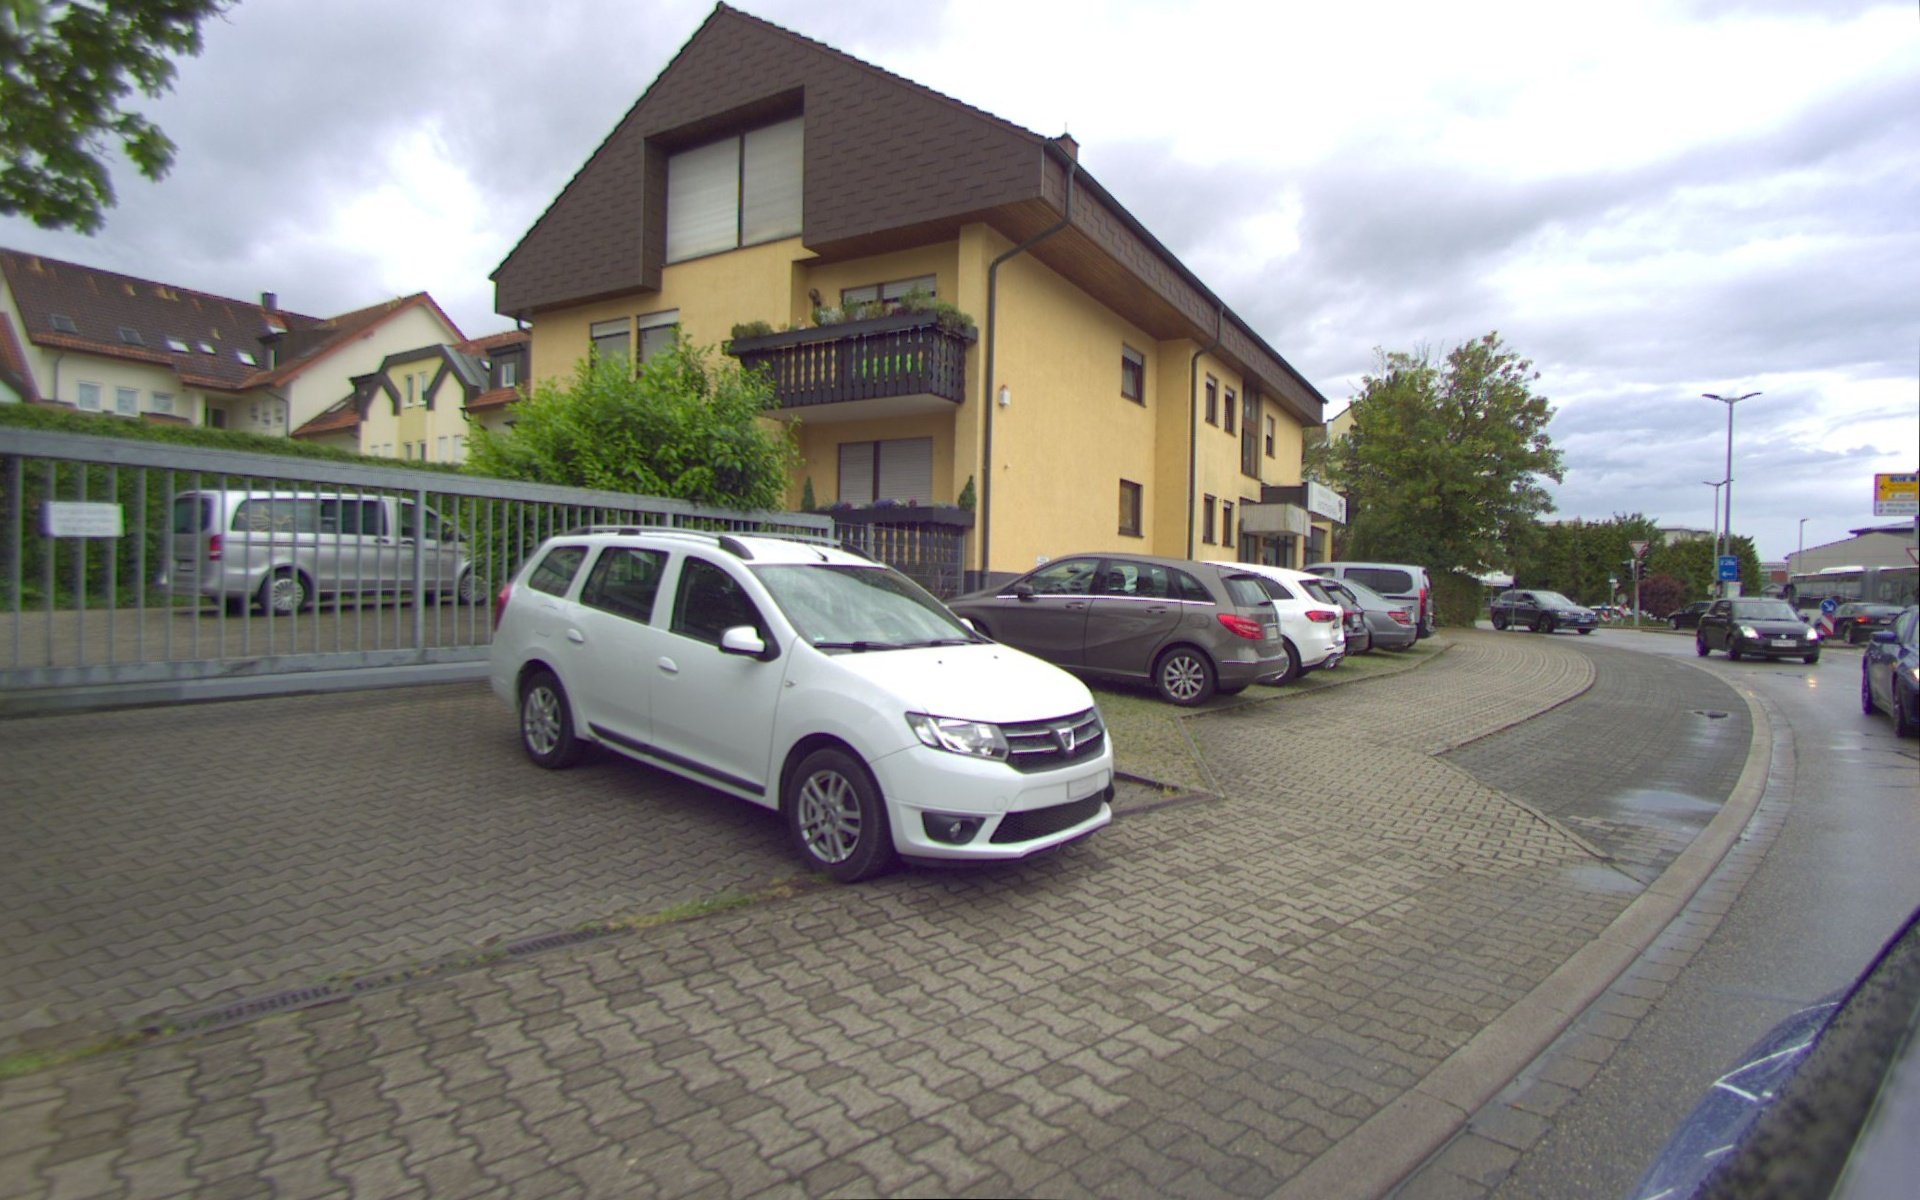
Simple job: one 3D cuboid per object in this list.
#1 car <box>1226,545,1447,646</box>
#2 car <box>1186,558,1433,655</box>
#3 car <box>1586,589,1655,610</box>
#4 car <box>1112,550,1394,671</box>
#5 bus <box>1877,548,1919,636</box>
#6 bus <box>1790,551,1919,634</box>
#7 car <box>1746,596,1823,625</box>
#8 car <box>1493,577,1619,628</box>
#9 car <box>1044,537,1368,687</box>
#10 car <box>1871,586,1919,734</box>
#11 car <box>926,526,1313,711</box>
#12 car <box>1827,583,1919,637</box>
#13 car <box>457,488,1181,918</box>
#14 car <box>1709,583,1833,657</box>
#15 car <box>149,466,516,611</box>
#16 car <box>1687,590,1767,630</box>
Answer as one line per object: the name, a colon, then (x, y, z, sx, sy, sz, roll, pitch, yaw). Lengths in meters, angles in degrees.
car: (8.371, -0.166, 22.574, 4.274, 1.802, 1.885, 6, 4, 30)
car: (6.903, 0.056, 20.145, 4.340, 1.440, 1.678, 6, 4, 30)
car: (49.698, -0.060, 76.248, 1.958, 1.482, 4.010, 1, 2, -18)
car: (4.802, 0.083, 16.764, 4.032, 1.507, 1.882, 6, 4, 34)
bus: (33.957, -0.213, 33.540, 2.566, 3.037, 8.339, 3, 2, 23)
bus: (37.419, -0.313, 41.578, 2.527, 3.037, 9.131, 3, 2, 23)
car: (52.136, 0.663, 64.011, 3.916, 1.660, 2.005, 1, 1, -20)
car: (23.274, 0.034, 39.724, 1.928, 1.771, 4.316, -1, 2, -9)
car: (3.458, 0.076, 14.377, 4.025, 1.615, 1.876, 6, 4, 30)
car: (11.898, 0.619, 11.532, 1.904, 1.514, 4.290, 1, 1, 38)
car: (1.821, 0.098, 11.930, 4.028, 1.615, 1.884, 6, 4, 32)
car: (30.165, 0.288, 33.107, 1.851, 1.536, 4.248, 4, 4, 30)
car: (-1.097, 0.265, 6.072, 4.335, 1.615, 1.742, 7, 4, 38)
car: (19.725, 0.415, 24.779, 1.732, 1.537, 3.960, 0, 3, 30)
car: (-10.199, -0.998, 16.930, 1.984, 2.038, 4.883, 2, 3, 30)
car: (35.250, 0.438, 46.631, 1.935, 1.537, 4.144, 2, 3, 23)
